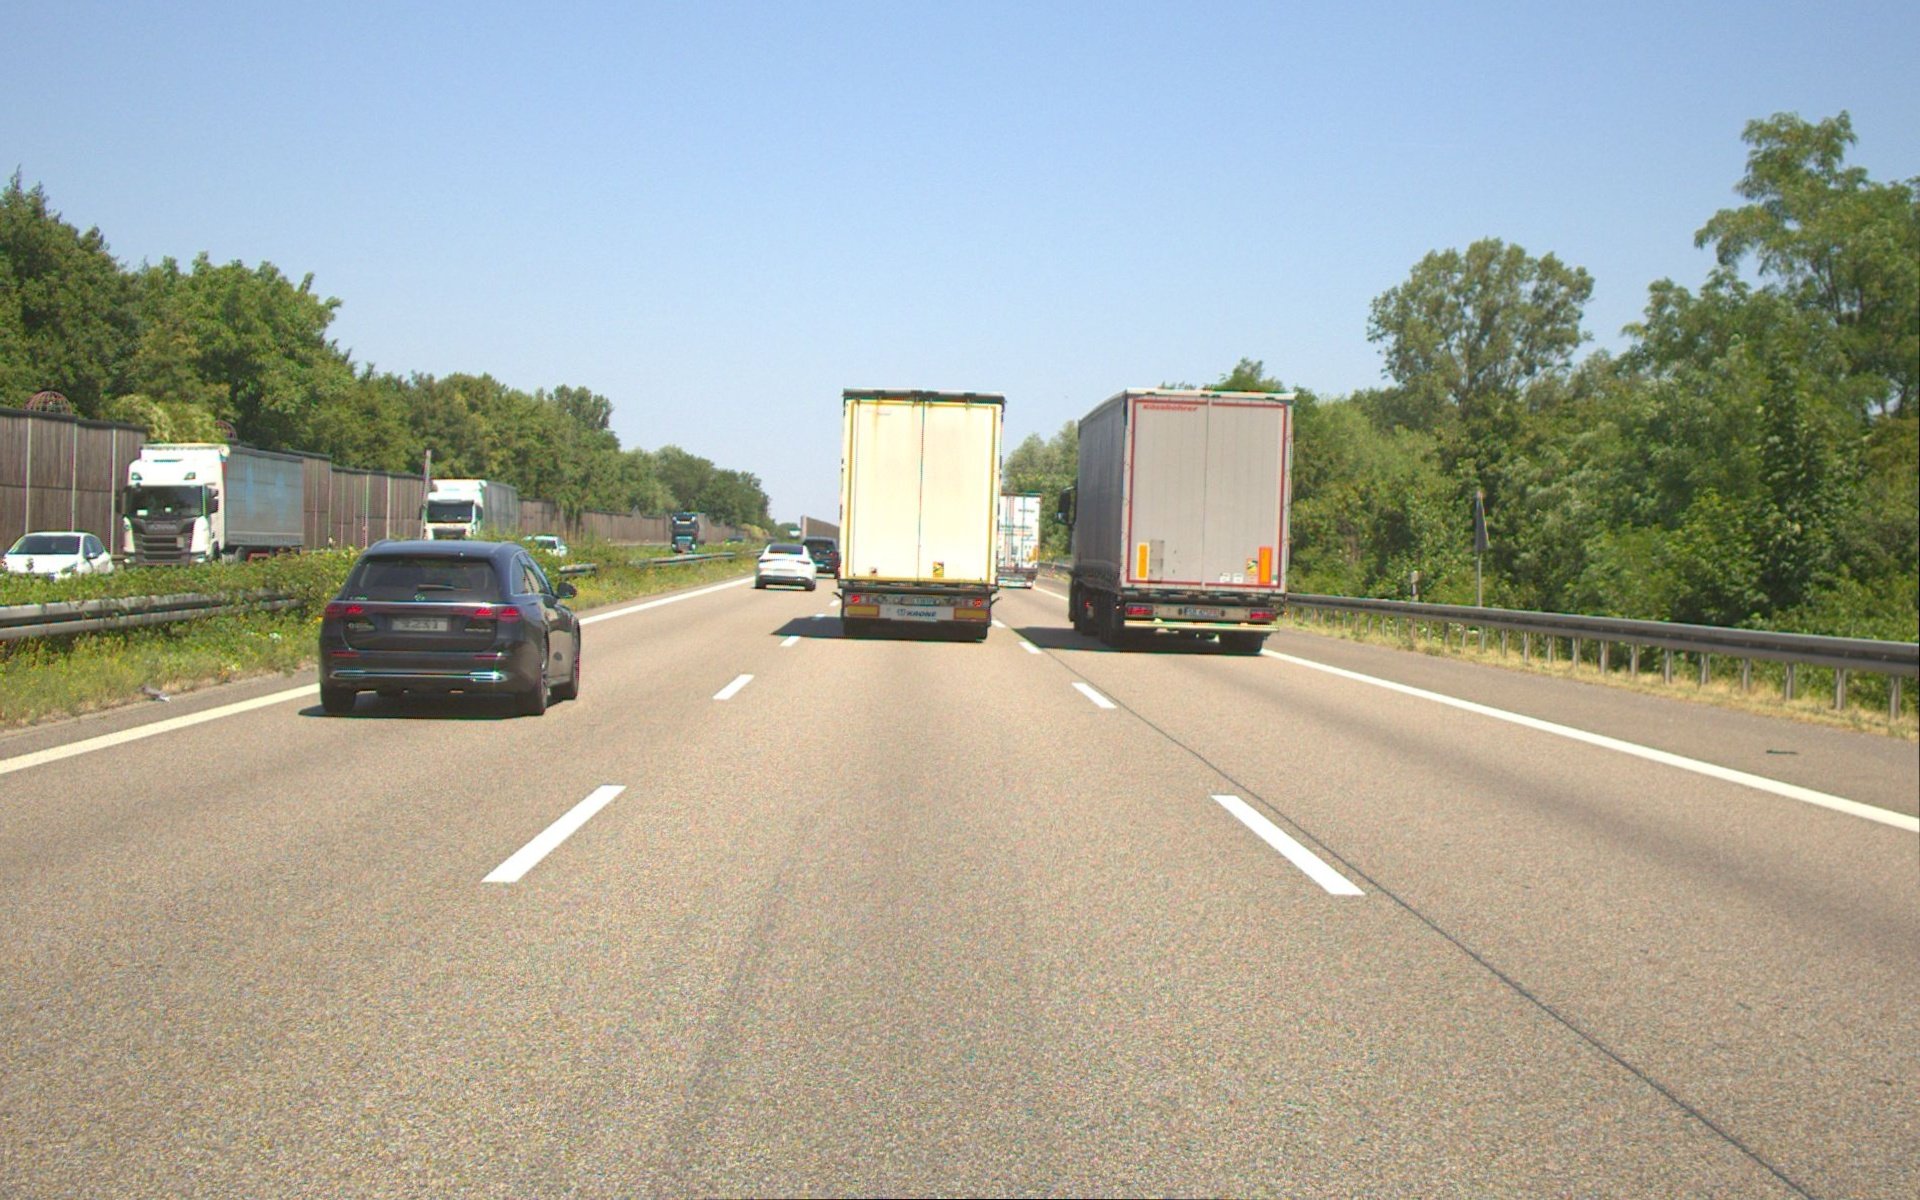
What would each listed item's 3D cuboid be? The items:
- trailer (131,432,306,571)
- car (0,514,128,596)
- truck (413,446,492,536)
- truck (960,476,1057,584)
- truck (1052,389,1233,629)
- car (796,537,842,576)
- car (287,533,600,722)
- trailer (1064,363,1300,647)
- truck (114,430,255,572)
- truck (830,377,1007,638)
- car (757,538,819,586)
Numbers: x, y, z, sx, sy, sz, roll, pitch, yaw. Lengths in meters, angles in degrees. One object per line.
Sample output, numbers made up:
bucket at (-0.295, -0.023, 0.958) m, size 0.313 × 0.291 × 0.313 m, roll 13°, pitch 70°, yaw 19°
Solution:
trailer at (-23.114, -3.009, 108.007) m, size 2.734 × 4.008 × 14.307 m, roll 1°, pitch 1°, yaw -2°
car at (-18.350, -0.929, 69.544) m, size 1.993 × 1.585 × 4.493 m, roll 1°, pitch 1°, yaw -1°
truck at (-24.209, -5.161, 164.310) m, size 2.833 × 4.169 × 7.143 m, roll 1°, pitch 1°, yaw -1°
truck at (2.027, -3.035, 148.988) m, size 3.374 × 4.289 × 11.451 m, roll 3°, pitch 1°, yaw -2°
truck at (3.354, -1.690, 65.052) m, size 2.691 × 4.201 × 7.839 m, roll 1°, pitch 1°, yaw -2°
car at (-5.982, -1.850, 145.396) m, size 1.855 × 1.611 × 4.001 m, roll 0°, pitch 1°, yaw -4°
car at (-4.502, 0.168, 30.844) m, size 1.943 × 1.501 × 5.821 m, roll 0°, pitch 1°, yaw 0°
trailer at (3.544, -1.547, 58.319) m, size 2.703 × 4.201 × 13.213 m, roll 1°, pitch 1°, yaw -2°
truck at (-22.953, -2.894, 102.056) m, size 2.757 × 4.008 × 6.735 m, roll 1°, pitch 1°, yaw -2°
truck at (-0.839, -1.584, 61.189) m, size 2.707 × 4.071 × 13.475 m, roll 1°, pitch 1°, yaw -2°
car at (-5.462, -1.225, 109.306) m, size 1.855 × 1.481 × 4.000 m, roll 0°, pitch 1°, yaw -1°
